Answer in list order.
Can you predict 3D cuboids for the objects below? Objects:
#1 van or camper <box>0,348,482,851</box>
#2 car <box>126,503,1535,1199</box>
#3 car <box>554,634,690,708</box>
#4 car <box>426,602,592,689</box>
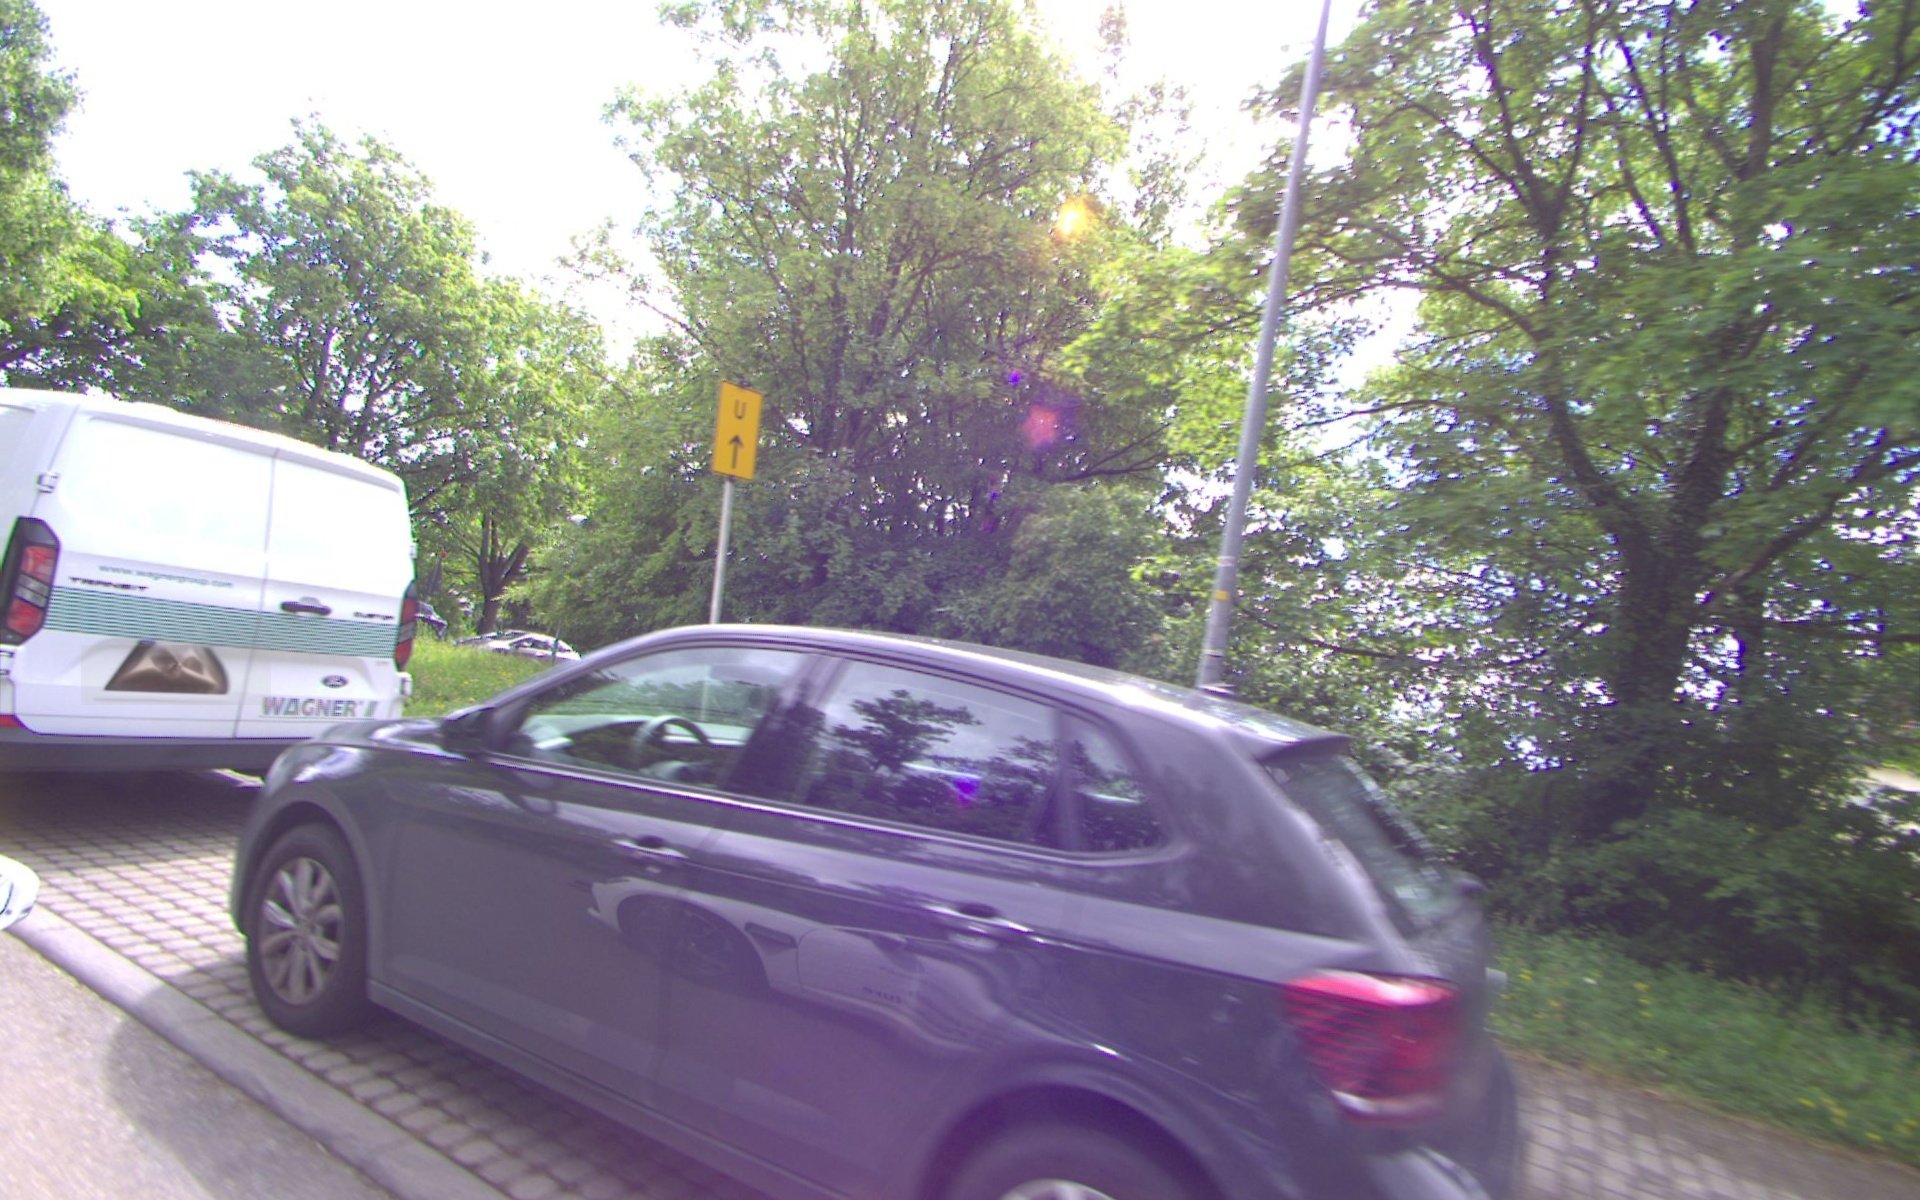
[{"bbox_3d":[-5.547,-0.185,5.860,5.172,1.940,2.002,8,-3,26],"label":"van or camper"},{"bbox_3d":[-0.541,0.728,3.185,3.932,1.479,1.805,6,-5,30],"label":"car"},{"bbox_3d":[-11.551,2.504,34.668,1.965,1.608,4.015,8,-9,27],"label":"car"},{"bbox_3d":[-13.453,1.426,30.237,1.965,1.608,4.015,8,-9,27],"label":"car"}]
